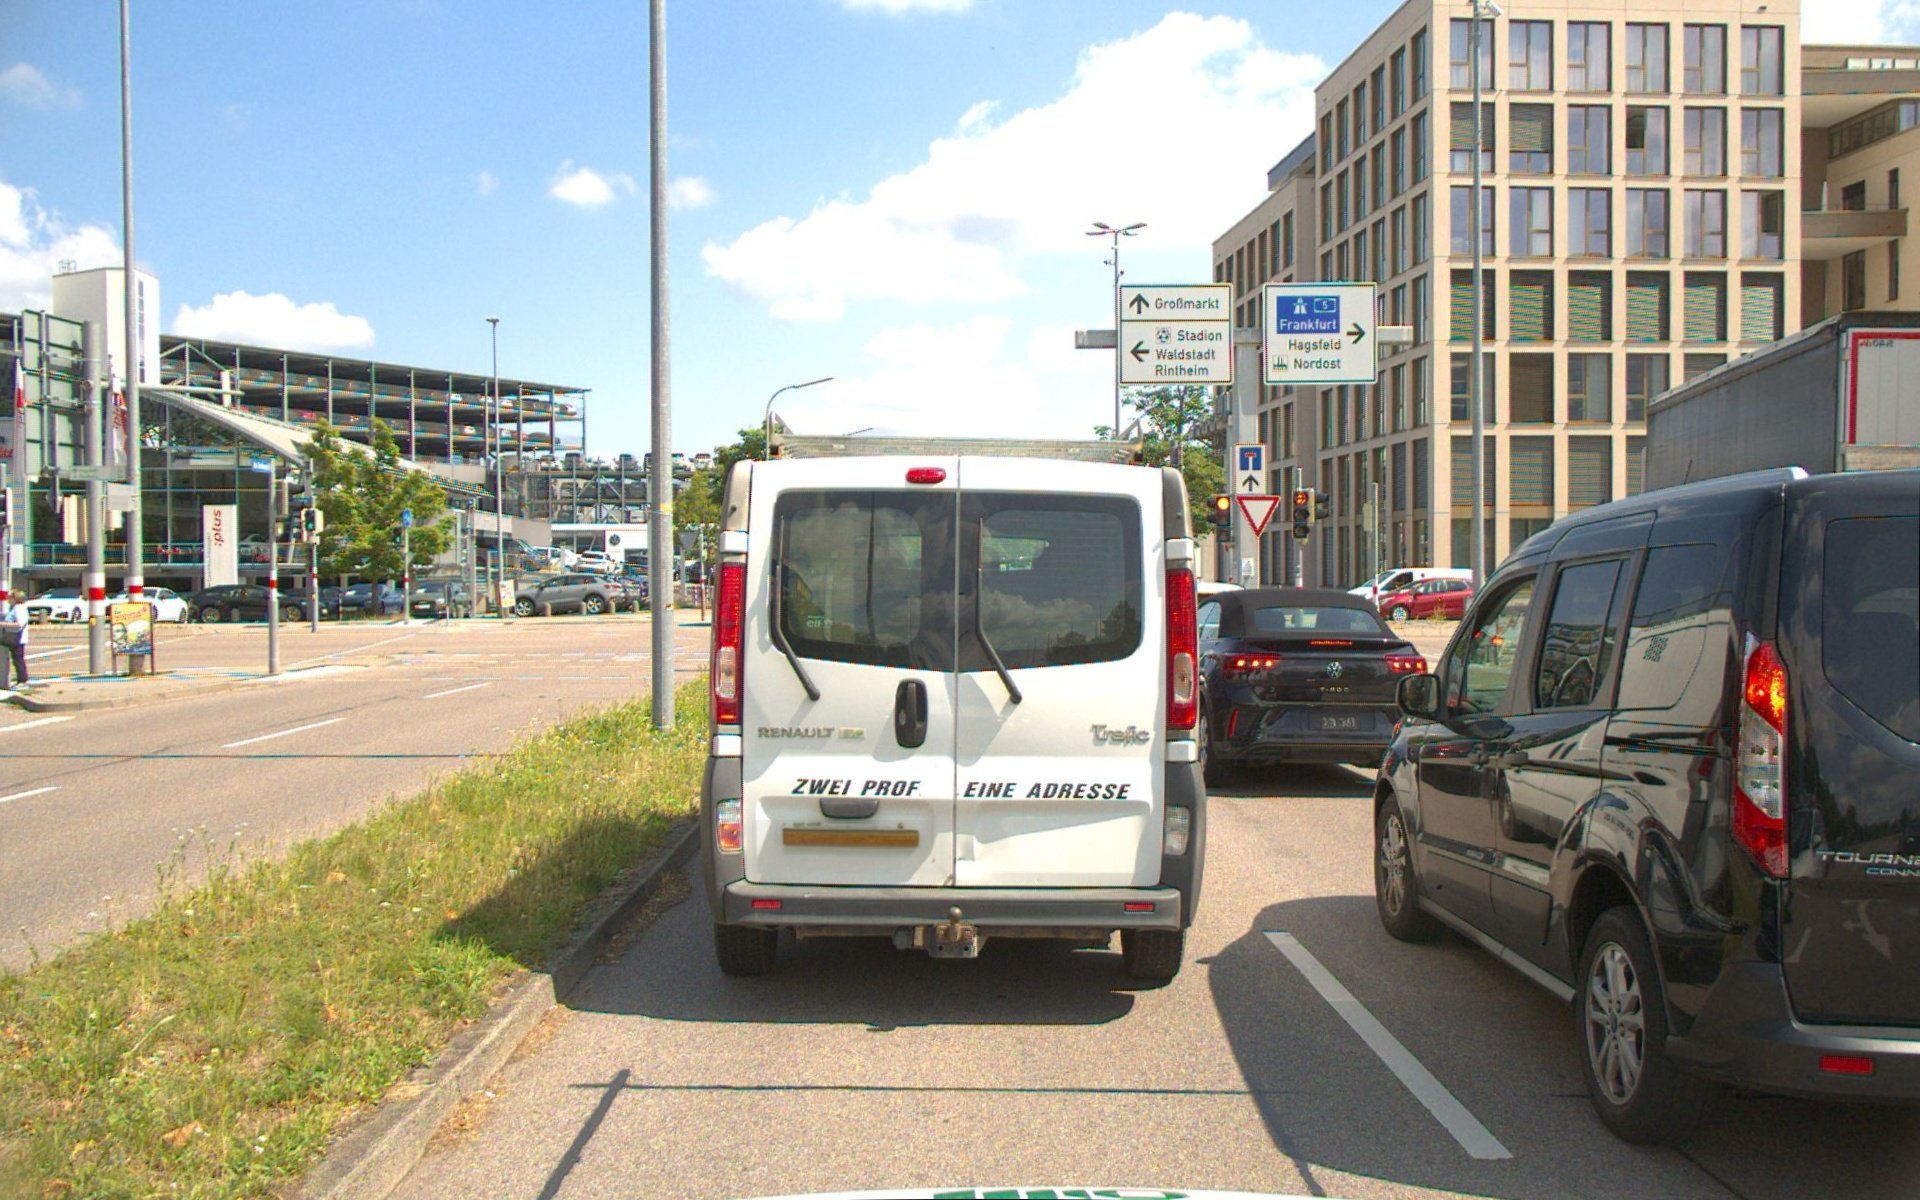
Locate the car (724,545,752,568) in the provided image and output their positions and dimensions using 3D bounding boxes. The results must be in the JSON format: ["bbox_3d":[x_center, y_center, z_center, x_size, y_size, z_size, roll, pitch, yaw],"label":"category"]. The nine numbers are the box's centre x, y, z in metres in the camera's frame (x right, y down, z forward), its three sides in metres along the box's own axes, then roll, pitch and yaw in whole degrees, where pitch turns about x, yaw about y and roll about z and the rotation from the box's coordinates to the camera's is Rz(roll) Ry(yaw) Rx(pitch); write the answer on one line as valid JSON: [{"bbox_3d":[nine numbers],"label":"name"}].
[{"bbox_3d":[-15.787,-3.087,117.785,1.810,1.556,3.996,0,1,-5],"label":"car"}]

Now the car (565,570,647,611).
[{"bbox_3d":[-16.161,-0.440,75.701,3.439,1.742,1.602,-2,1,-5],"label":"car"}]

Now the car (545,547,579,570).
[{"bbox_3d":[-28.452,-2.956,118.270,1.810,1.556,3.996,0,1,-5],"label":"car"}]

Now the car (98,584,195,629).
[{"bbox_3d":[-29.145,0.204,59.391,1.741,1.475,4.026,0,1,-5],"label":"car"}]

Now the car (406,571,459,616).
[{"bbox_3d":[-19.254,-0.234,60.397,1.789,1.579,3.980,0,0,-18],"label":"car"}]

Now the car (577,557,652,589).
[{"bbox_3d":[-20.067,-1.585,96.089,4.086,1.742,1.686,1,1,-7],"label":"car"}]

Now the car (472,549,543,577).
[{"bbox_3d":[-28.434,-2.311,104.076,4.085,1.743,1.686,0,0,-7],"label":"car"}]

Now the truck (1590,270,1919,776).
[{"bbox_3d":[9.195,-0.699,17.363,3.063,4.009,8.867,0,1,9],"label":"truck"}]

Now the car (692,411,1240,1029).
[{"bbox_3d":[0.053,0.389,7.552,1.817,2.053,4.001,1,0,1],"label":"car"}]

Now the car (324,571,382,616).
[{"bbox_3d":[-21.907,-0.247,59.798,1.789,1.579,3.980,0,0,-18],"label":"car"}]

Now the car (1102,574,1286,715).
[{"bbox_3d":[2.824,0.499,20.749,1.704,1.570,4.000,1,0,0],"label":"car"}]

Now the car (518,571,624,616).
[{"bbox_3d":[-15.366,-0.271,65.477,3.786,1.668,1.856,-2,1,-5],"label":"car"}]

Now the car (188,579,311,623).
[{"bbox_3d":[-25.409,0.023,59.230,3.719,1.539,1.677,0,1,-6],"label":"car"}]

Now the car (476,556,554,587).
[{"bbox_3d":[-25.376,-1.607,94.472,4.085,1.743,1.686,0,0,-7],"label":"car"}]

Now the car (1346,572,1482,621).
[{"bbox_3d":[14.476,-0.114,52.842,3.815,1.516,1.794,0,1,-2],"label":"car"}]

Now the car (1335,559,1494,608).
[{"bbox_3d":[15.573,-0.593,56.854,4.884,1.635,1.999,0,1,-4],"label":"car"}]

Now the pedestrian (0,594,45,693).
[{"bbox_3d":[-14.799,0.670,26.038,0.459,1.538,0.511,1,0,24],"label":"pedestrian"}]

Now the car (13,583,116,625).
[{"bbox_3d":[-31.961,0.115,59.124,1.870,1.400,3.749,0,1,-5],"label":"car"}]

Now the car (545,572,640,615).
[{"bbox_3d":[-16.079,-0.315,72.514,3.836,1.742,1.687,-2,1,-5],"label":"car"}]

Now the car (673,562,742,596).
[{"bbox_3d":[-14.769,-1.207,96.915,3.911,1.959,1.824,0,0,-8],"label":"car"}]

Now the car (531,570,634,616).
[{"bbox_3d":[-15.450,-0.286,67.870,3.836,1.742,1.687,-2,1,-5],"label":"car"}]

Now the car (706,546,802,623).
[{"bbox_3d":[-6.490,-0.541,52.744,1.929,2.295,4.984,-1,1,6],"label":"car"}]

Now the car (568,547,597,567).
[{"bbox_3d":[-31.182,-3.551,136.756,1.810,1.556,3.996,0,1,-5],"label":"car"}]

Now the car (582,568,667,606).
[{"bbox_3d":[-16.492,-0.661,81.437,3.836,1.742,1.687,-2,1,-5],"label":"car"}]

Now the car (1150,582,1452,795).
[{"bbox_3d":[2.705,0.636,14.012,1.704,1.521,4.000,1,0,0],"label":"car"}]

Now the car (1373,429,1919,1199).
[{"bbox_3d":[2.768,0.527,5.703,1.782,1.840,4.001,1,1,2],"label":"car"}]

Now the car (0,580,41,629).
[{"bbox_3d":[-34.437,0.140,58.823,1.722,1.689,3.613,0,1,-5],"label":"car"}]

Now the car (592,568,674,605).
[{"bbox_3d":[-16.630,-0.712,84.215,3.836,1.742,1.687,-2,1,-5],"label":"car"}]
